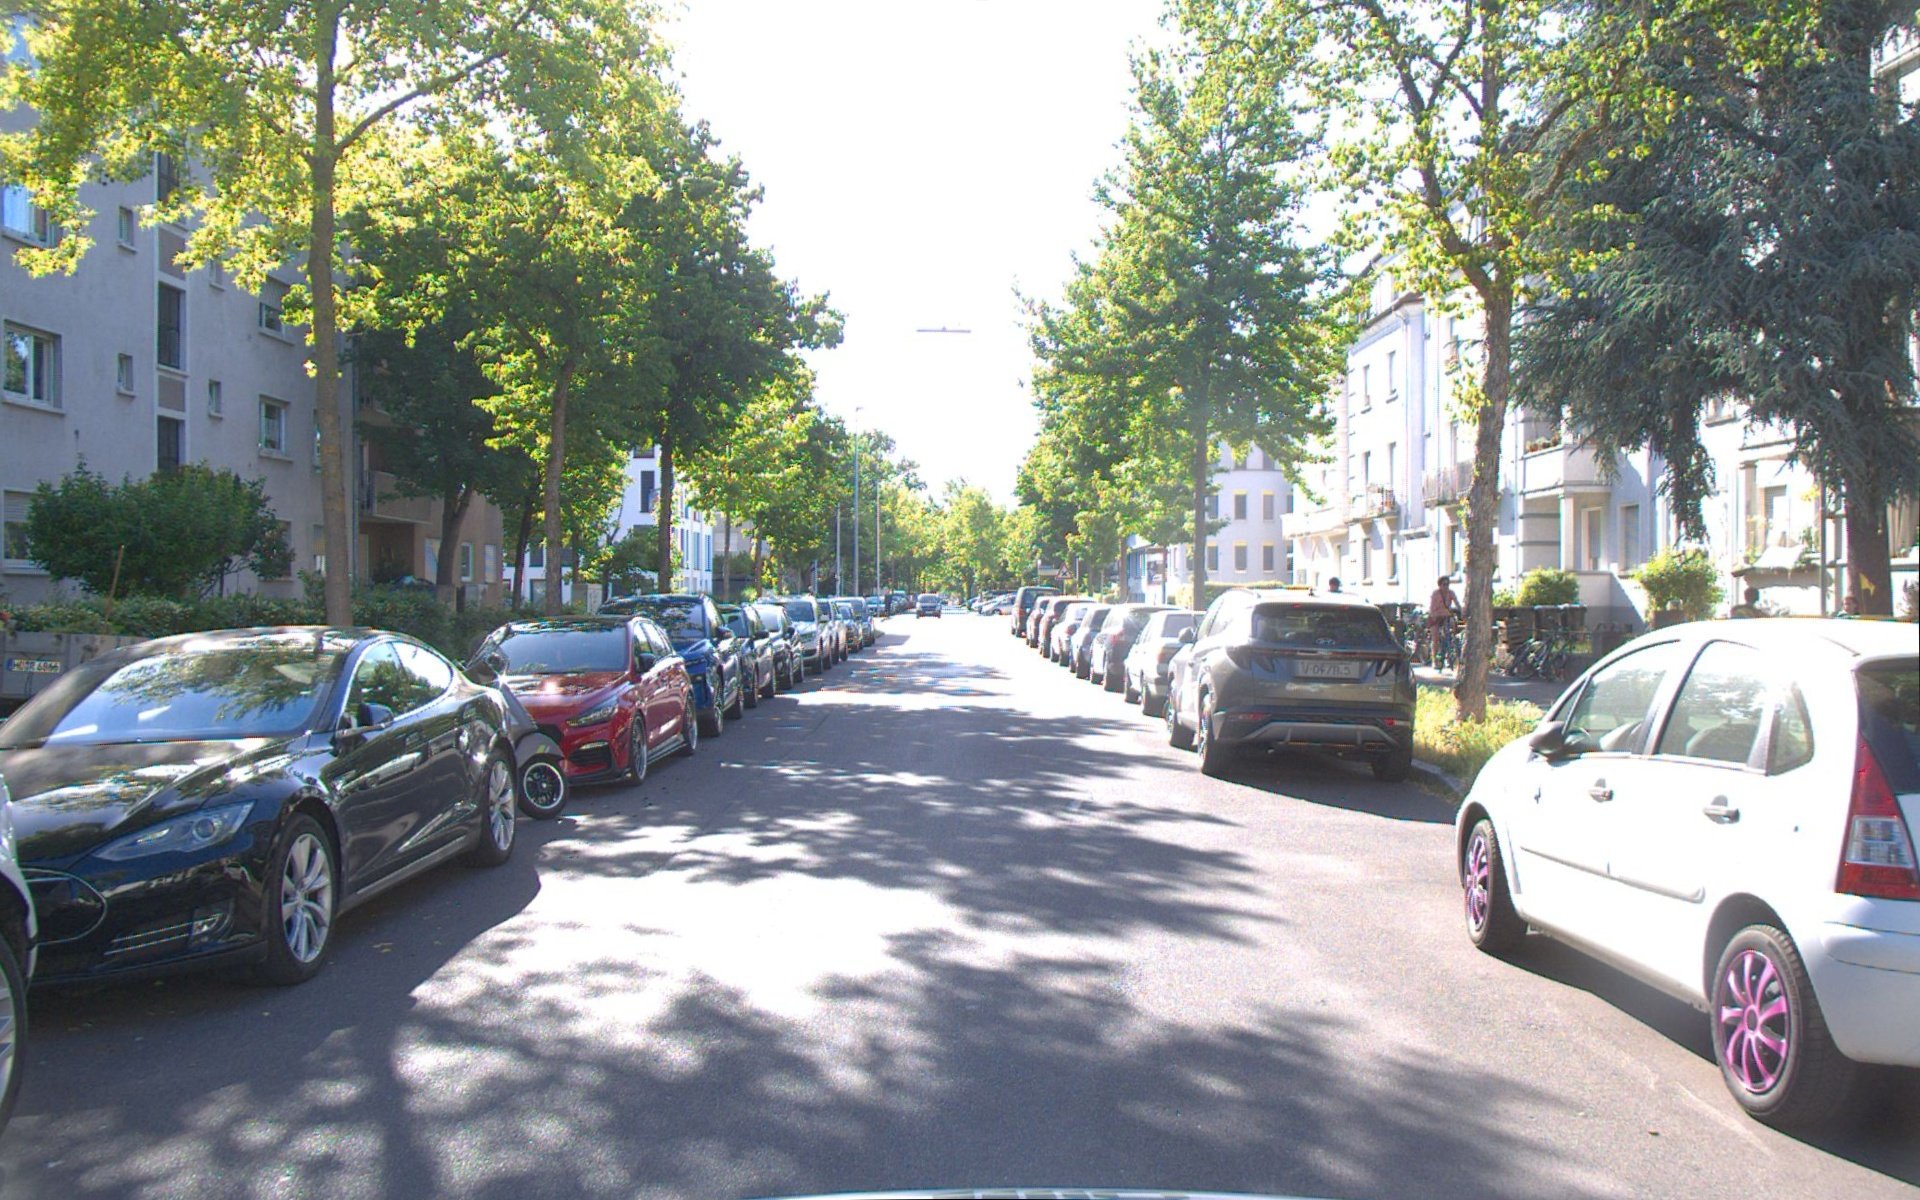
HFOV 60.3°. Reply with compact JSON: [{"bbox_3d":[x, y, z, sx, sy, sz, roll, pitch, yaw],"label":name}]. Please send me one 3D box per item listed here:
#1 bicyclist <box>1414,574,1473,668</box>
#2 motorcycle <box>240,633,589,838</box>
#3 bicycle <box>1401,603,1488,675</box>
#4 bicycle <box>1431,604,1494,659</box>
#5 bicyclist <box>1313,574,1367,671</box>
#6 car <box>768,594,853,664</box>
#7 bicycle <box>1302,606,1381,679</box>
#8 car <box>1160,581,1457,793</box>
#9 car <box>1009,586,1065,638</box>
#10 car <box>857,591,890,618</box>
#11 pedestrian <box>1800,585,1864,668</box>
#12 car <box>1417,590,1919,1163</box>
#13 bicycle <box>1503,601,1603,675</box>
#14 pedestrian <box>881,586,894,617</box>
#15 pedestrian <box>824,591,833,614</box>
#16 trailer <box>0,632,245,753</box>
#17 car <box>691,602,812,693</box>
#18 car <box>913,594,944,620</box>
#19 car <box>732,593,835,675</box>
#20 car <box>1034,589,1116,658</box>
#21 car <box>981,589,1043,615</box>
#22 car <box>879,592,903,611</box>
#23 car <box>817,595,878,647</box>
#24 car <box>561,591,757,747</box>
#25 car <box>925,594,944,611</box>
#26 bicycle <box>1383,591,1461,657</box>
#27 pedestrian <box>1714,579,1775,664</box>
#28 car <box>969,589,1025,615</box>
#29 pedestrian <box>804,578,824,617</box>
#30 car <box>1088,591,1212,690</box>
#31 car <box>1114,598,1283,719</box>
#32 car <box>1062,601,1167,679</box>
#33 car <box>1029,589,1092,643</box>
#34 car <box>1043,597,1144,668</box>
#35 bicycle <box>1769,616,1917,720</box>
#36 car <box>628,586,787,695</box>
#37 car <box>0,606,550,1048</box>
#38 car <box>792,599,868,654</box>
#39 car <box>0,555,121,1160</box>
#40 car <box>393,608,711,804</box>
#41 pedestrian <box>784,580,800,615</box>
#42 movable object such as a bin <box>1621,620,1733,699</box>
[{"bbox_3d":[8.327,0.354,28.507,0.663,1.580,1.021,-1,0,-4],"label":"bicyclist"},{"bbox_3d":[-3.860,0.936,11.904,2.244,1.292,0.806,-2,0,-11],"label":"motorcycle"},{"bbox_3d":[8.327,0.651,28.547,0.670,1.173,2.401,-1,0,-3],"label":"bicycle"},{"bbox_3d":[9.381,0.571,30.959,0.583,0.974,1.903,-1,0,0],"label":"bicycle"},{"bbox_3d":[6.577,0.377,28.643,0.663,1.638,0.921,-1,0,-4],"label":"bicyclist"},{"bbox_3d":[-3.668,0.683,41.218,1.675,1.571,3.930,-2,0,0],"label":"car"},{"bbox_3d":[6.579,0.709,28.663,0.670,1.173,2.401,-1,0,-3],"label":"bicycle"},{"bbox_3d":[3.163,0.691,16.101,1.886,1.680,5.096,2,0,1],"label":"car"},{"bbox_3d":[3.031,0.442,66.215,1.931,1.983,4.984,0,0,-1],"label":"car"},{"bbox_3d":[-5.723,0.282,110.112,1.953,1.700,4.000,-1,0,0],"label":"car"},{"bbox_3d":[12.335,0.368,23.410,0.499,1.162,0.755,0,0,-2],"label":"pedestrian"},{"bbox_3d":[3.226,0.769,6.520,1.621,1.559,3.968,2,0,-2],"label":"car"},{"bbox_3d":[9.443,0.586,26.412,0.787,1.135,1.999,0,0,-3],"label":"bicycle"},{"bbox_3d":[-4.596,0.104,105.205,0.702,1.933,0.835,-1,0,-10],"label":"pedestrian"},{"bbox_3d":[-11.005,0.203,138.519,0.747,1.934,0.817,-1,0,-7],"label":"pedestrian"},{"bbox_3d":[-9.066,0.903,17.201,1.752,1.052,3.282,0,0,2],"label":"trailer"},{"bbox_3d":[-3.727,0.811,30.143,1.726,1.469,3.908,-2,0,-1],"label":"car"},{"bbox_3d":[-2.095,0.461,108.492,1.748,1.637,3.996,-1,0,-5],"label":"car"},{"bbox_3d":[-3.732,0.680,35.580,1.774,1.624,4.232,-1,0,-1],"label":"car"},{"bbox_3d":[3.128,0.614,45.845,1.868,1.728,4.313,2,0,-1],"label":"car"},{"bbox_3d":[3.430,0.130,108.650,3.908,1.615,1.725,-1,0,-4],"label":"car"},{"bbox_3d":[-6.150,0.090,147.183,1.953,1.613,4.000,-1,0,0],"label":"car"},{"bbox_3d":[-3.773,0.681,55.999,1.802,1.623,4.261,-2,0,-1],"label":"car"},{"bbox_3d":[-3.563,0.746,20.314,1.754,1.594,4.462,-3,0,-3],"label":"car"},{"bbox_3d":[-2.539,0.223,163.667,1.856,1.588,3.999,-1,0,-1],"label":"car"},{"bbox_3d":[9.284,0.462,33.359,0.822,1.279,2.229,0,0,-4],"label":"bicycle"},{"bbox_3d":[10.903,0.292,23.000,0.499,1.162,0.756,0,0,1],"label":"pedestrian"},{"bbox_3d":[2.699,0.164,121.189,3.907,1.862,1.999,-1,0,-3],"label":"car"},{"bbox_3d":[-7.759,-0.139,87.881,0.841,2.049,0.982,-1,0,8],"label":"pedestrian"},{"bbox_3d":[3.275,0.651,29.260,1.658,1.567,4.441,1,1,0],"label":"car"},{"bbox_3d":[3.296,0.750,23.618,1.715,1.479,4.462,2,0,0],"label":"car"},{"bbox_3d":[3.119,0.768,33.951,1.752,1.478,3.781,1,0,-1],"label":"car"},{"bbox_3d":[3.242,0.495,54.033,1.796,1.628,4.158,2,0,0],"label":"car"},{"bbox_3d":[3.127,0.737,39.545,1.859,1.500,4.698,3,0,-2],"label":"car"},{"bbox_3d":[9.288,0.690,17.484,0.569,0.992,1.904,-1,0,1],"label":"bicycle"},{"bbox_3d":[-3.768,0.560,25.334,1.792,1.478,4.122,-1,0,-1],"label":"car"},{"bbox_3d":[-3.517,0.856,8.280,1.693,1.503,4.619,-4,0,0],"label":"car"},{"bbox_3d":[-3.881,0.774,49.928,1.953,1.478,4.261,-3,0,-1],"label":"car"},{"bbox_3d":[-3.462,0.758,2.939,1.693,1.646,4.365,-4,0,-1],"label":"car"},{"bbox_3d":[-3.476,0.830,14.926,1.743,1.403,4.262,-2,0,0],"label":"car"},{"bbox_3d":[-10.000,-0.150,98.601,0.842,2.049,0.981,-1,0,-2],"label":"pedestrian"},{"bbox_3d":[9.070,0.737,20.989,1.196,0.920,1.665,-1,0,20],"label":"movable object such as a bin"}]
